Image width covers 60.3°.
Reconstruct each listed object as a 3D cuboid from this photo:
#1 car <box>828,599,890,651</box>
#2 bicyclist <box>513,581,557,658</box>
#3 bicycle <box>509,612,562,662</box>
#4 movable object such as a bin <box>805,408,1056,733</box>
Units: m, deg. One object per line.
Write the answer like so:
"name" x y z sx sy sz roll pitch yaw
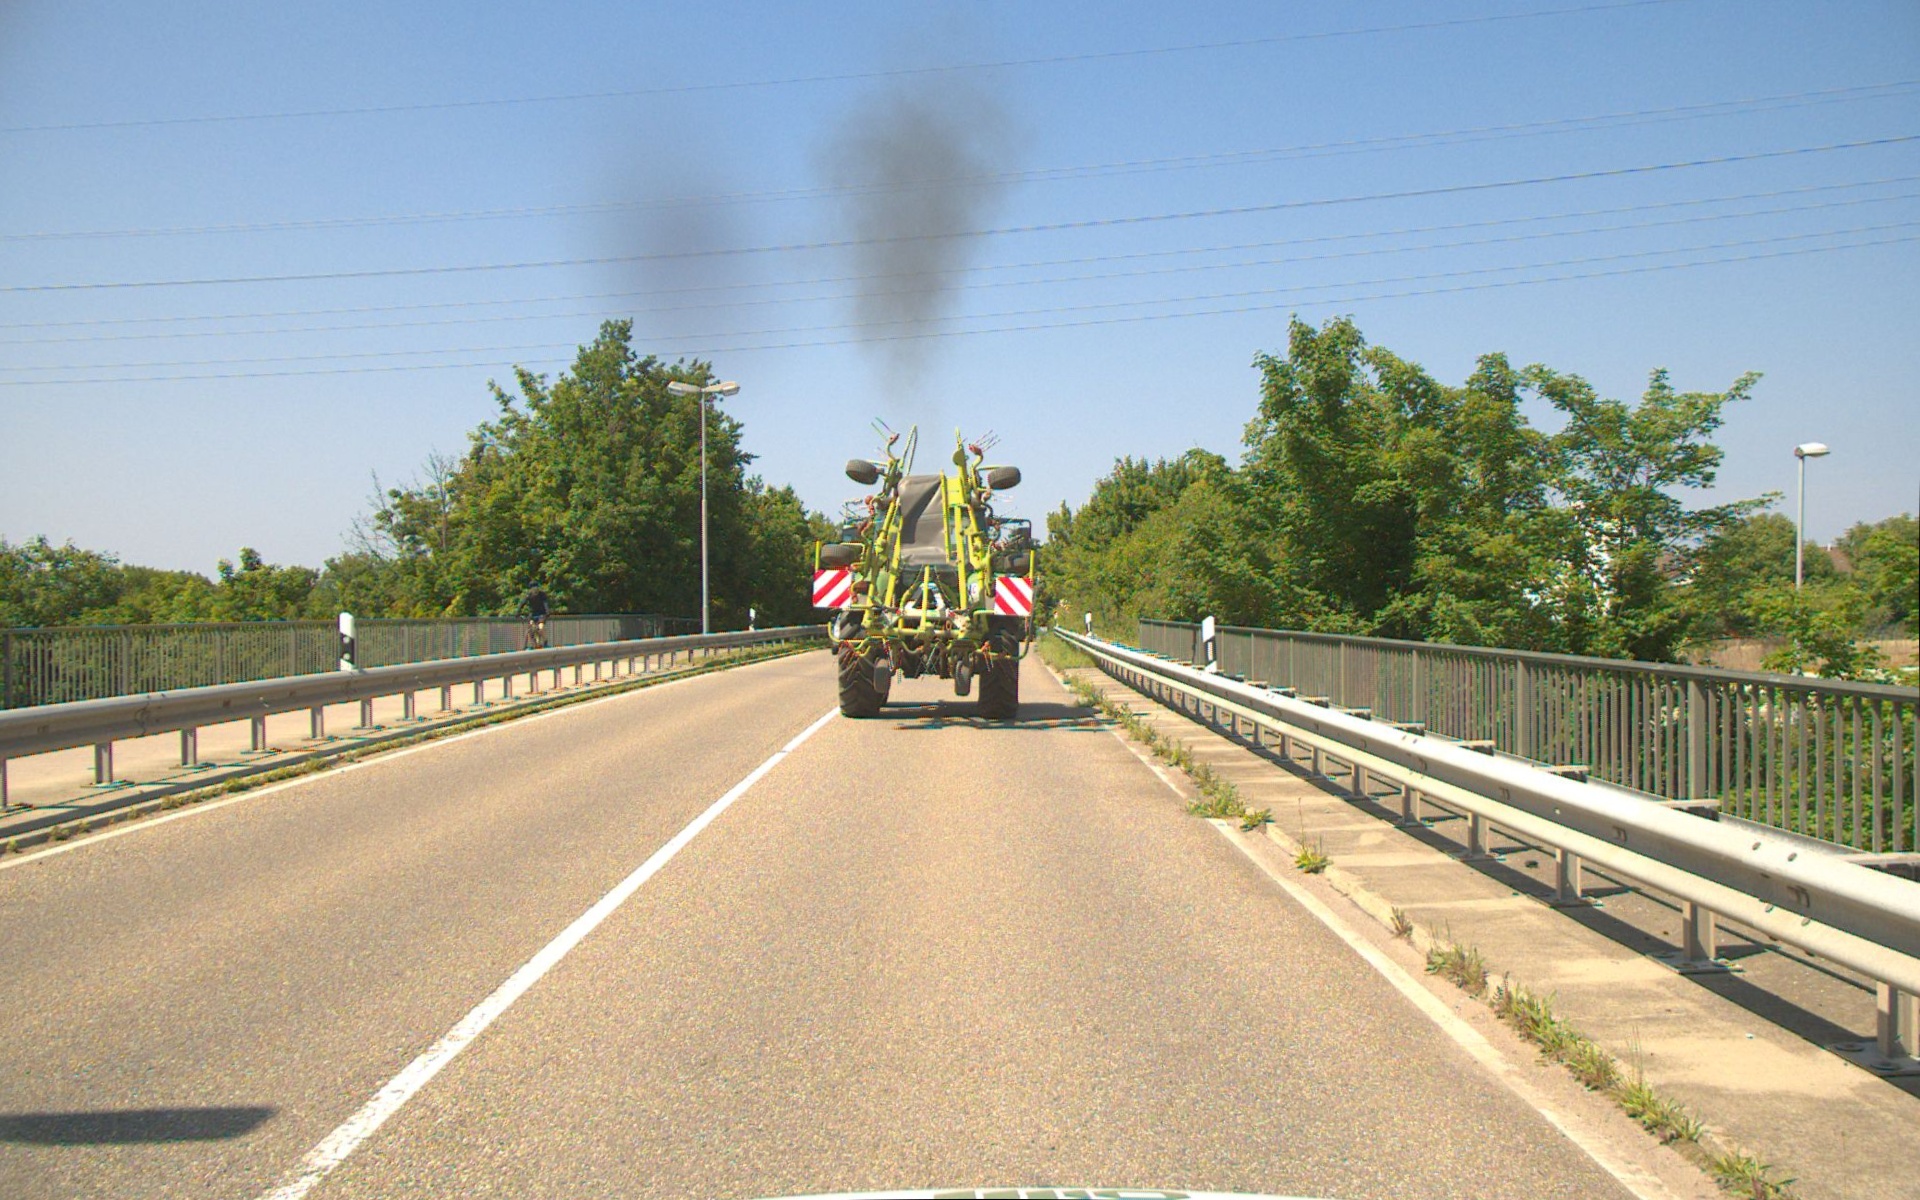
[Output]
"car" -3.029 0.741 50.288 1.633 1.543 3.666 0 0 0
"bicyclist" -9.330 0.417 36.364 0.749 1.662 0.895 0 1 -2
"bicycle" -9.329 0.795 36.382 0.663 1.019 2.118 -1 1 -2
"movable object such as a bin" -0.377 -0.338 20.712 2.699 3.504 5.668 0 0 -1
